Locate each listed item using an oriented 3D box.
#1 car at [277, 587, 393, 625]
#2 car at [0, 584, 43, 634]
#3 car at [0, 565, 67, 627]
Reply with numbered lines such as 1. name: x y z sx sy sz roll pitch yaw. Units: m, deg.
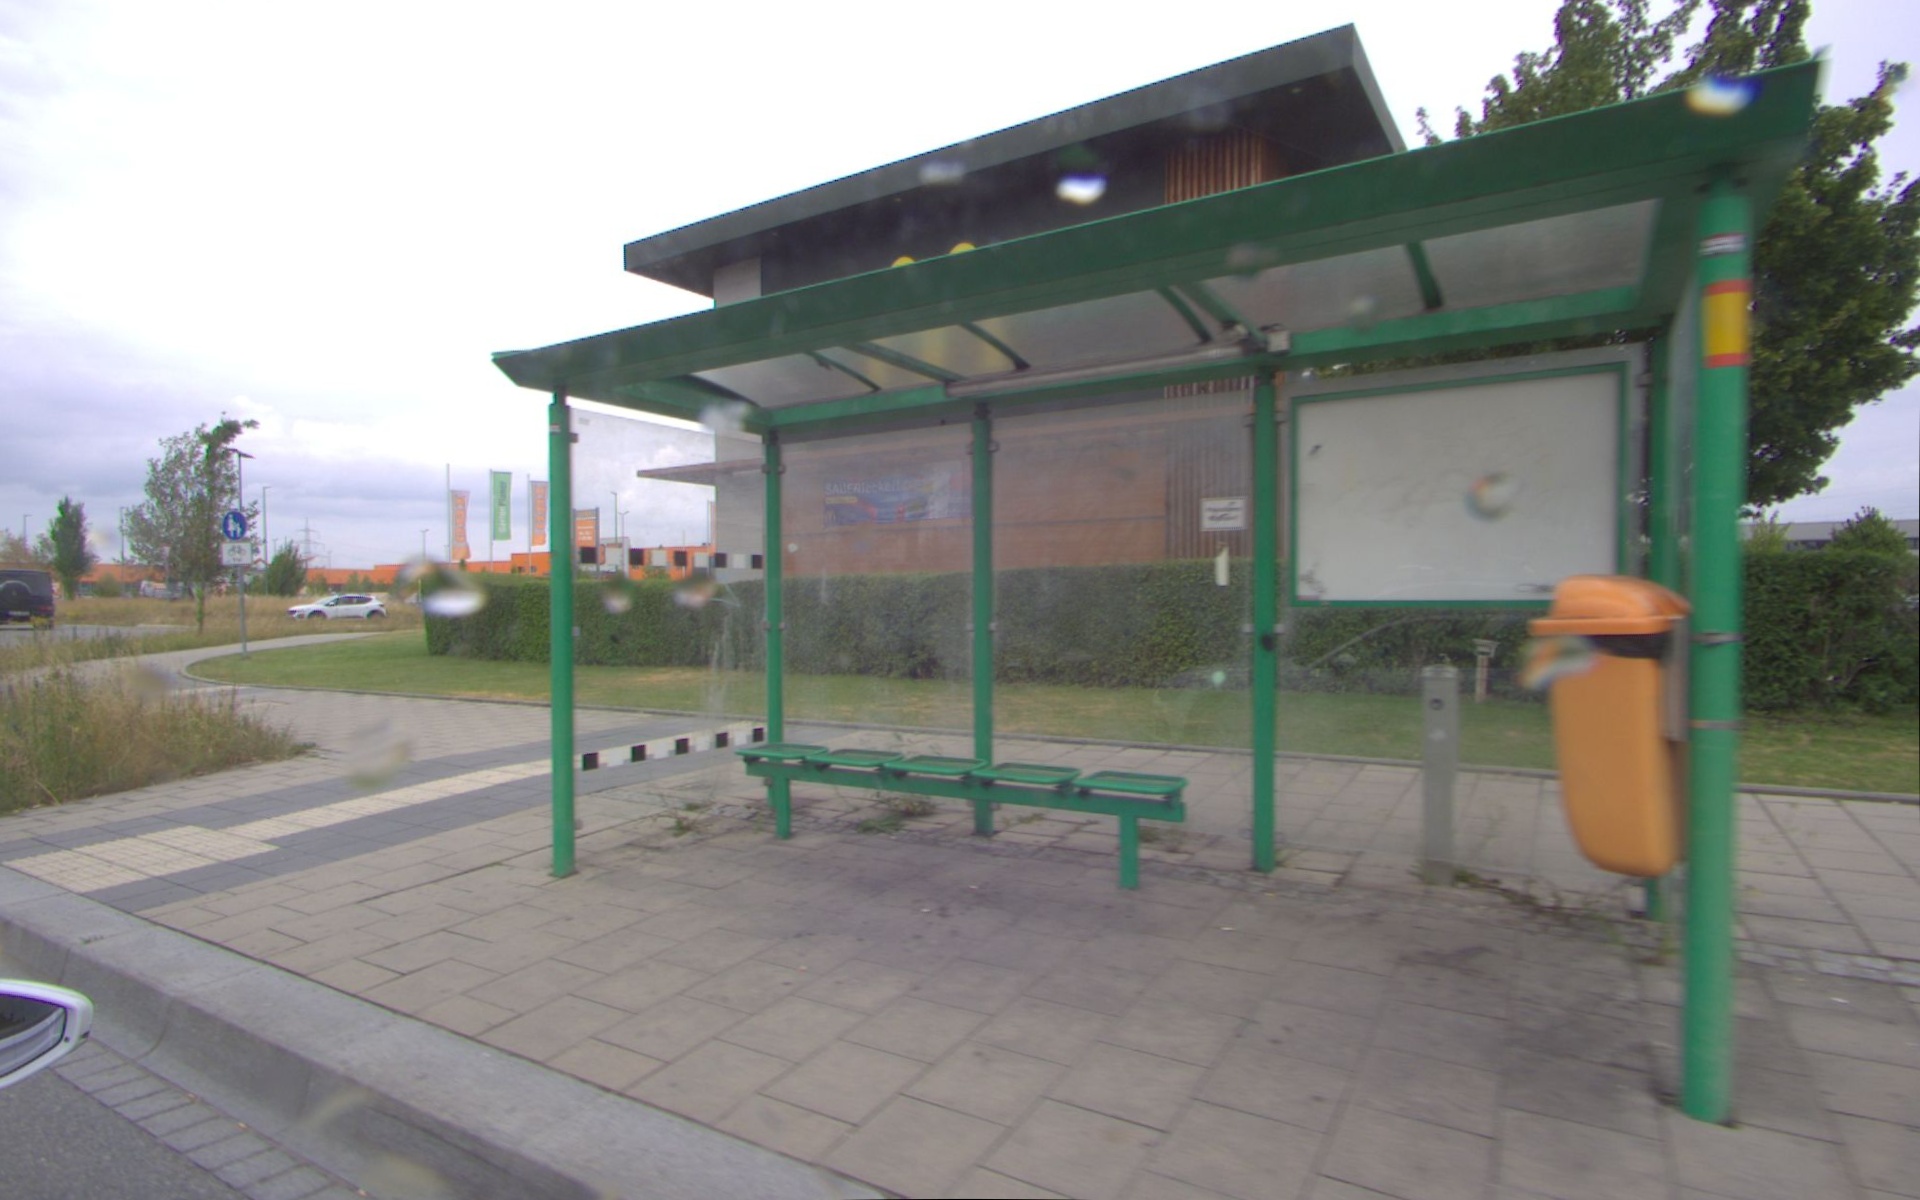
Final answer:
1. car: -29.782 0.235 47.831 1.844 1.671 4.314 3 2 34
2. car: -39.725 0.312 39.531 4.695 1.913 2.077 1 2 -22
3. car: -31.762 -0.188 33.744 4.721 1.913 2.066 3 3 43
